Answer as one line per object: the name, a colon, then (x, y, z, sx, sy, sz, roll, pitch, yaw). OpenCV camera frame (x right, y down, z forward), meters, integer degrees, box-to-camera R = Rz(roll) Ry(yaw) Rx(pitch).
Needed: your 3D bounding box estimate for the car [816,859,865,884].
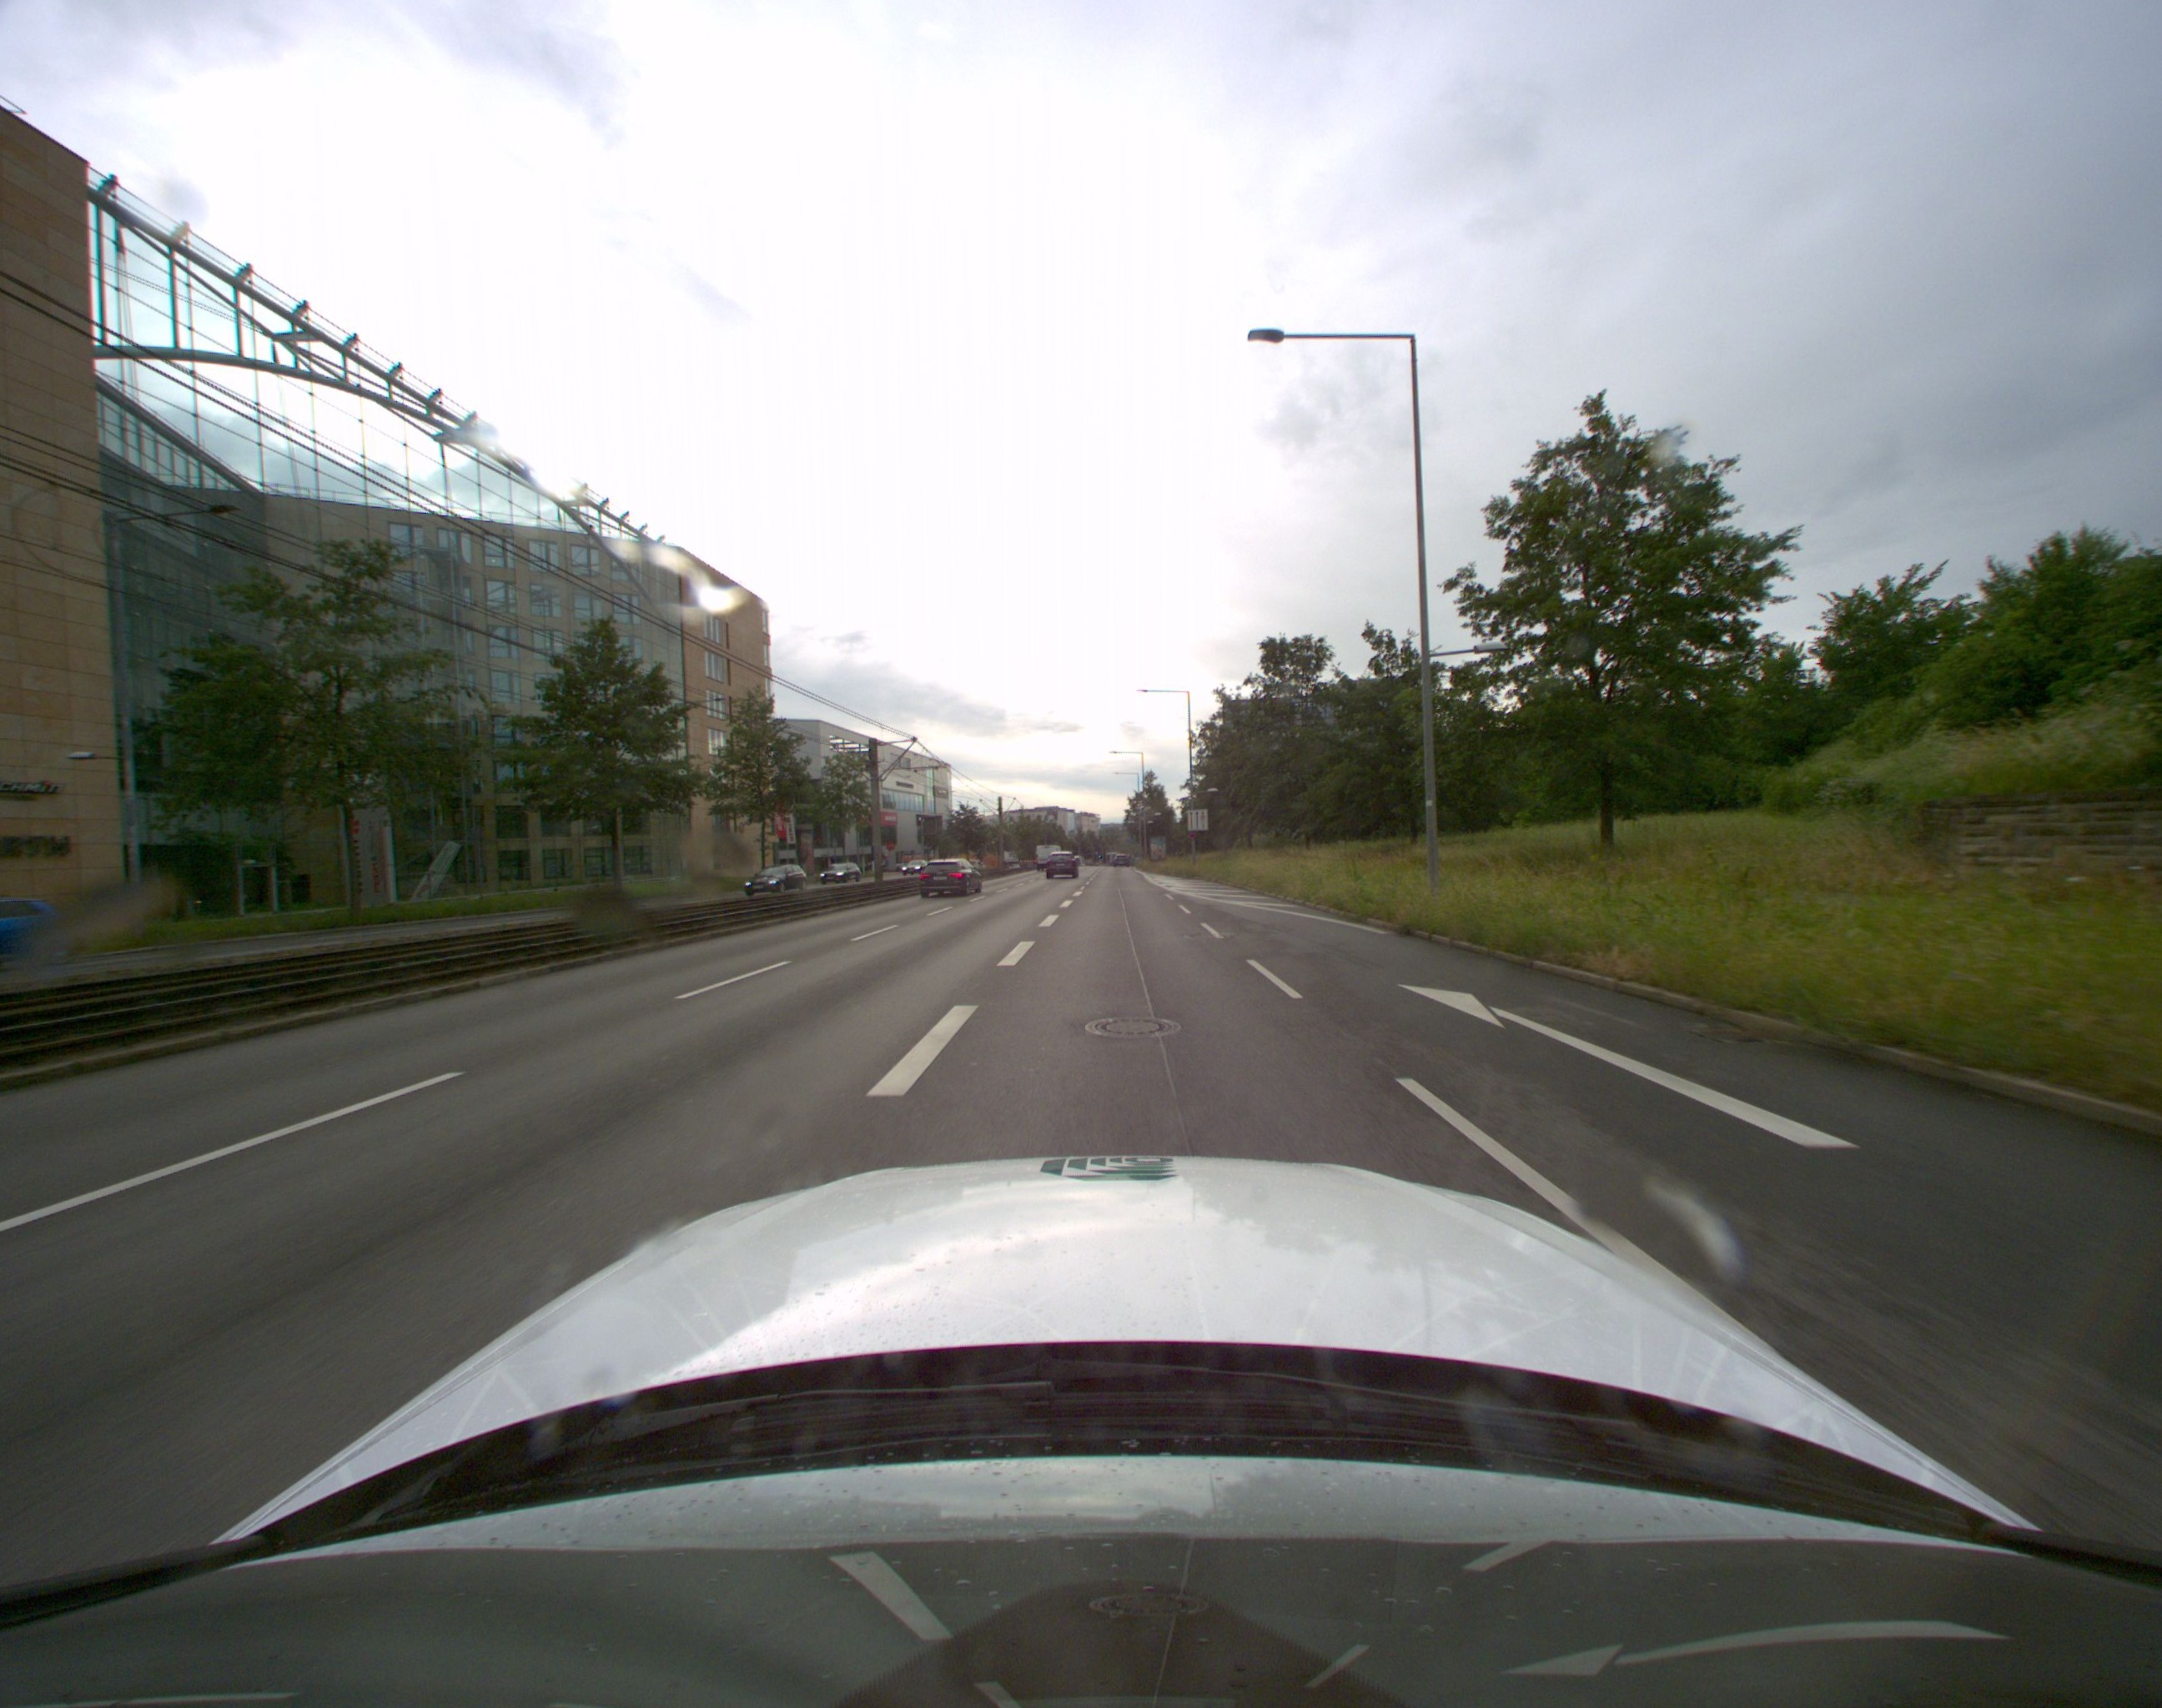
car: (-17.437, 1.231, 59.241, 1.834, 1.486, 4.657, -5, 0, 2)

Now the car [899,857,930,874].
car: (-16.628, 1.126, 81.459, 1.834, 1.486, 4.657, -5, 0, 2)

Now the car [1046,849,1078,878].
car: (-1.186, 0.541, 50.991, 1.917, 1.710, 4.096, -1, 0, -1)

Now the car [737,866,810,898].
car: (-15.077, 1.375, 40.165, 1.764, 1.502, 4.204, -1, -2, 4)

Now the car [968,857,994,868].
car: (-21.127, 1.812, 172.895, 5.290, 2.313, 2.018, -1, -2, -3)

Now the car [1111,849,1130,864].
car: (4.504, 0.344, 92.970, 1.784, 1.591, 3.998, -3, -1, -1)

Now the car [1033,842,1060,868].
car: (-3.089, 0.089, 74.386, 2.261, 2.285, 4.758, -1, 0, -1)

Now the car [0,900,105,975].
car: (-22.415, 1.686, 15.851, 1.833, 1.454, 4.026, -1, -2, 3)

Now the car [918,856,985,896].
car: (-5.003, 0.803, 31.989, 1.780, 1.413, 4.806, -1, 0, 1)
